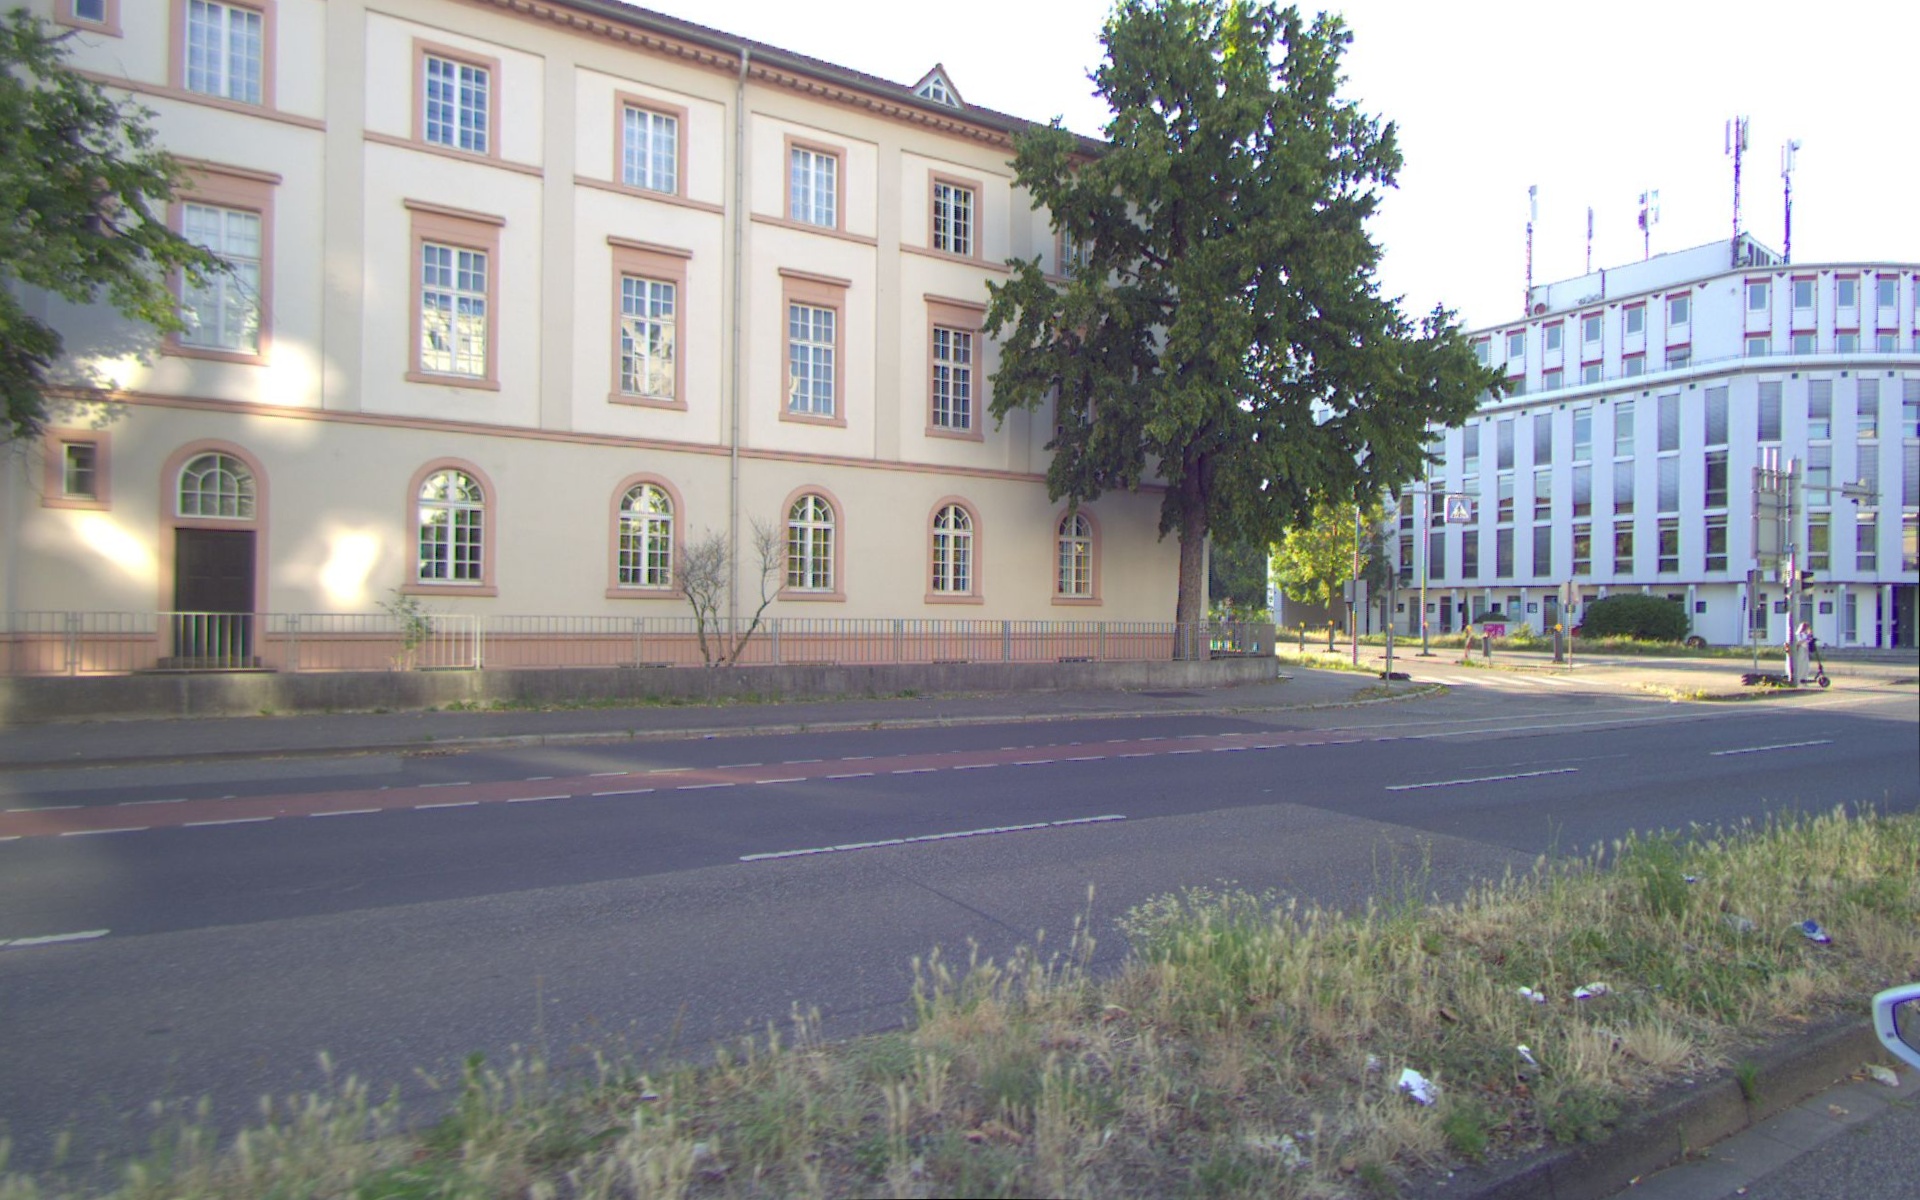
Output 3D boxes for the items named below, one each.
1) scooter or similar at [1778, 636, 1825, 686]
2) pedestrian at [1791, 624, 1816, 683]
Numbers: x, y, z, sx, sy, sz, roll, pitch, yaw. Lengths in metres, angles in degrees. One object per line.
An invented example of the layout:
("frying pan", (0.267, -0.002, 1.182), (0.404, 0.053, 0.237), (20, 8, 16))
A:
("scooter or similar", (21.963, 1.576, 26.222), (0.368, 1.250, 0.885), (1, -1, -40))
("pedestrian", (22.112, 1.405, 26.334), (0.332, 1.525, 0.470), (1, -1, -41))
